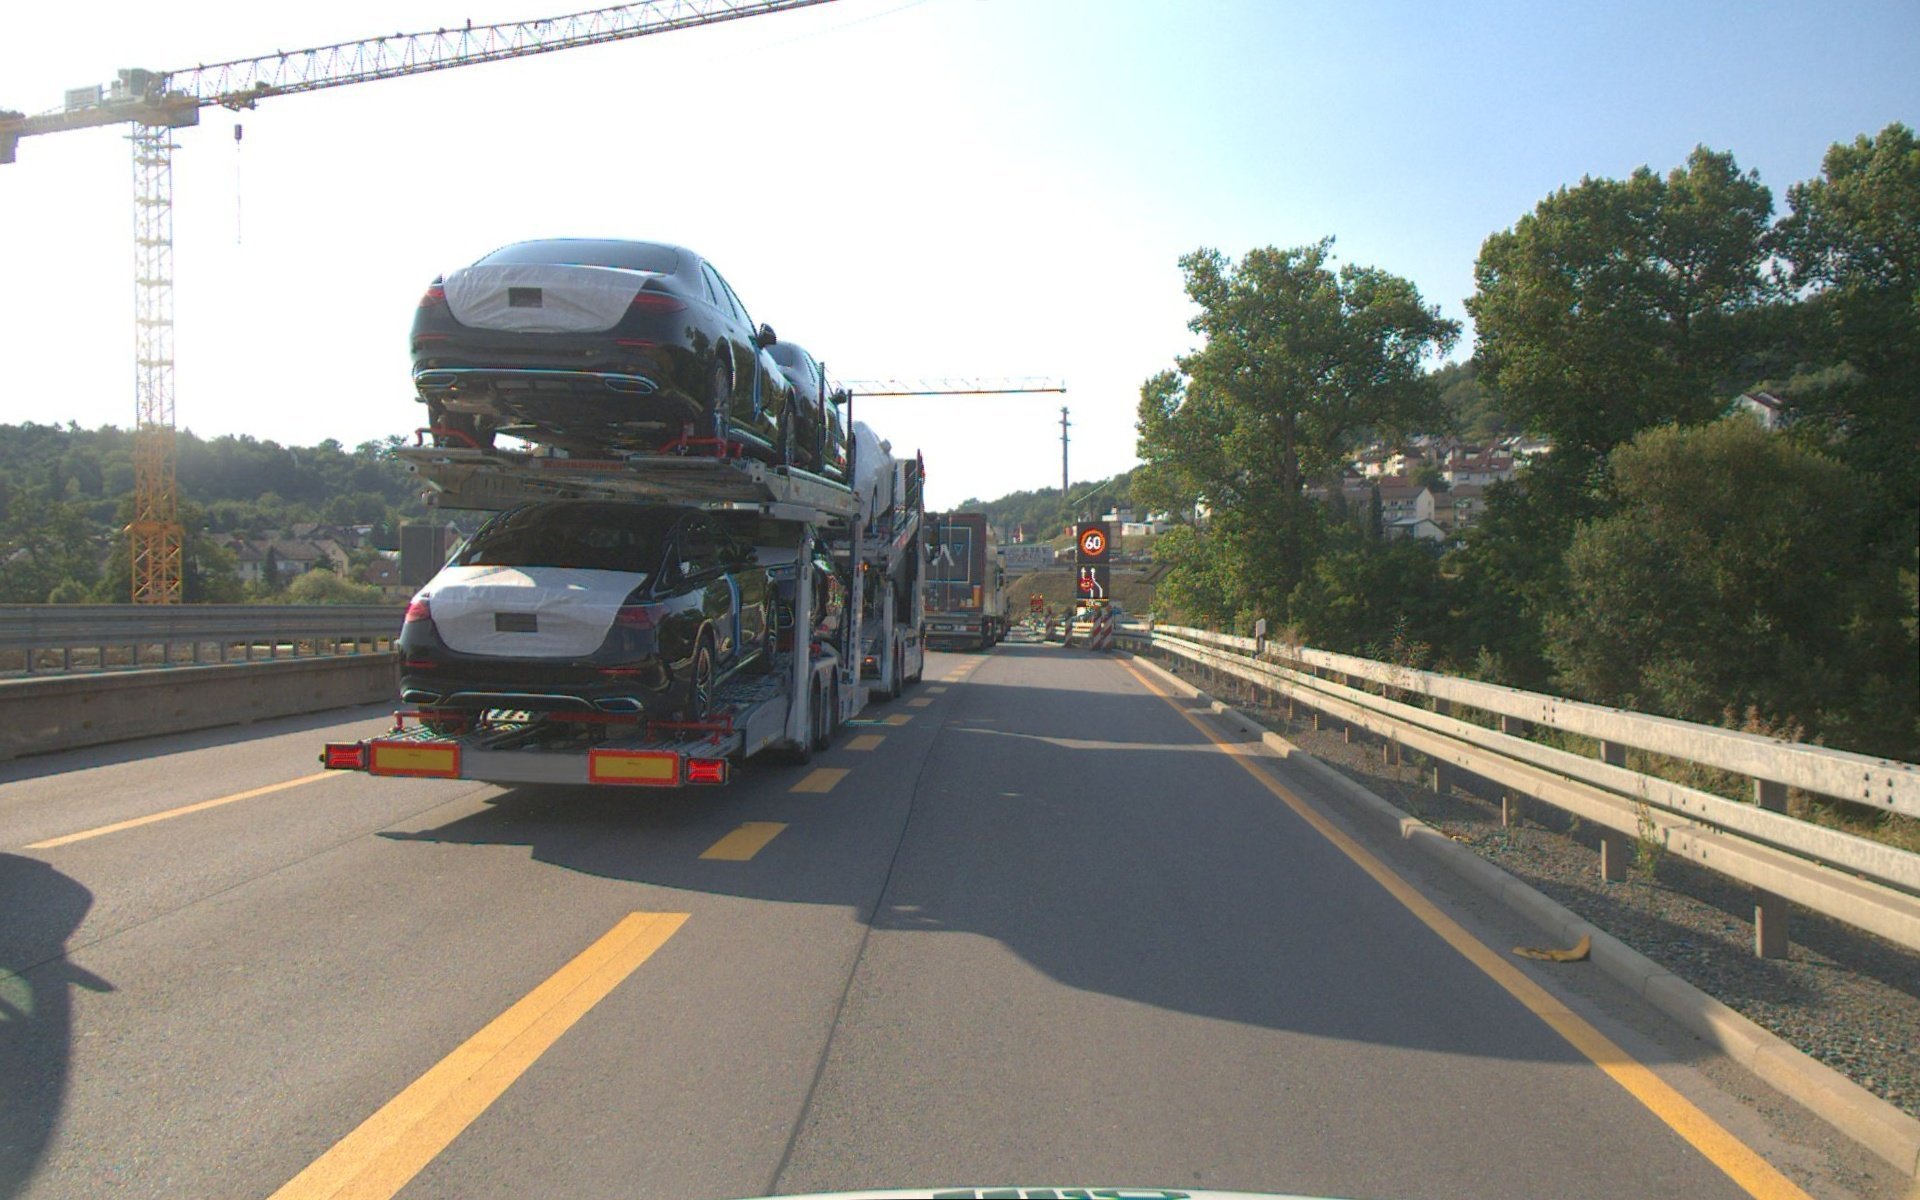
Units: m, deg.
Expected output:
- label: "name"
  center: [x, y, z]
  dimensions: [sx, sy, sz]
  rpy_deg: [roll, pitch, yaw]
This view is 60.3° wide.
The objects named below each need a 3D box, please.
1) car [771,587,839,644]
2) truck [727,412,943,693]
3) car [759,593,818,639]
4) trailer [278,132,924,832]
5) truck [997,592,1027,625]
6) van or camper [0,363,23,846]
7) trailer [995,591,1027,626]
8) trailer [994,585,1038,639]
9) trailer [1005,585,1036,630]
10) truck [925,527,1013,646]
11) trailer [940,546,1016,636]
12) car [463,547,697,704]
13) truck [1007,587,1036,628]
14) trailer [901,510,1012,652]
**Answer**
- label: "car"
  center: [-5.114, 0.500, 54.979]
  dimensions: [1.792, 1.783, 4.000]
  rpy_deg: [-1, 0, 0]
- label: "truck"
  center: [-1.846, -0.674, 27.273]
  dimensions: [2.789, 4.066, 6.626]
  rpy_deg: [0, 0, 2]
- label: "car"
  center: [-6.574, 0.594, 63.748]
  dimensions: [1.792, 1.683, 4.000]
  rpy_deg: [-1, 0, 0]
- label: "trailer"
  center: [-2.268, -0.666, 17.514]
  dimensions: [2.797, 4.066, 15.750]
  rpy_deg: [0, 0, 2]
- label: "truck"
  center: [6.973, 1.130, 221.943]
  dimensions: [3.944, 4.360, 6.626]
  rpy_deg: [0, 0, 2]
- label: "van or camper"
  center: [-6.421, 0.015, 6.404]
  dimensions: [1.952, 2.666, 5.906]
  rpy_deg: [1, 0, 3]
- label: "trailer"
  center: [6.727, 1.105, 215.405]
  dimensions: [4.011, 4.389, 14.256]
  rpy_deg: [0, 0, 2]
- label: "trailer"
  center: [4.541, 0.923, 132.201]
  dimensions: [3.314, 4.066, 14.749]
  rpy_deg: [0, 0, 2]
- label: "trailer"
  center: [6.290, 0.774, 169.922]
  dimensions: [3.039, 4.389, 14.256]
  rpy_deg: [0, 0, 2]
- label: "truck"
  center: [0.428, -0.462, 60.026]
  dimensions: [2.824, 4.066, 6.627]
  rpy_deg: [0, 0, 3]
- label: "trailer"
  center: [1.075, -0.372, 81.914]
  dimensions: [3.314, 4.066, 14.749]
  rpy_deg: [0, 0, 2]
- label: "car"
  center: [-5.410, 0.322, 24.312]
  dimensions: [1.986, 2.015, 4.981]
  rpy_deg: [2, 0, 3]
- label: "truck"
  center: [6.598, 0.792, 177.565]
  dimensions: [3.033, 4.360, 6.626]
  rpy_deg: [0, 0, 2]
- label: "trailer"
  center: [0.065, -0.550, 54.247]
  dimensions: [2.897, 4.163, 10.798]
  rpy_deg: [-1, 0, 3]
